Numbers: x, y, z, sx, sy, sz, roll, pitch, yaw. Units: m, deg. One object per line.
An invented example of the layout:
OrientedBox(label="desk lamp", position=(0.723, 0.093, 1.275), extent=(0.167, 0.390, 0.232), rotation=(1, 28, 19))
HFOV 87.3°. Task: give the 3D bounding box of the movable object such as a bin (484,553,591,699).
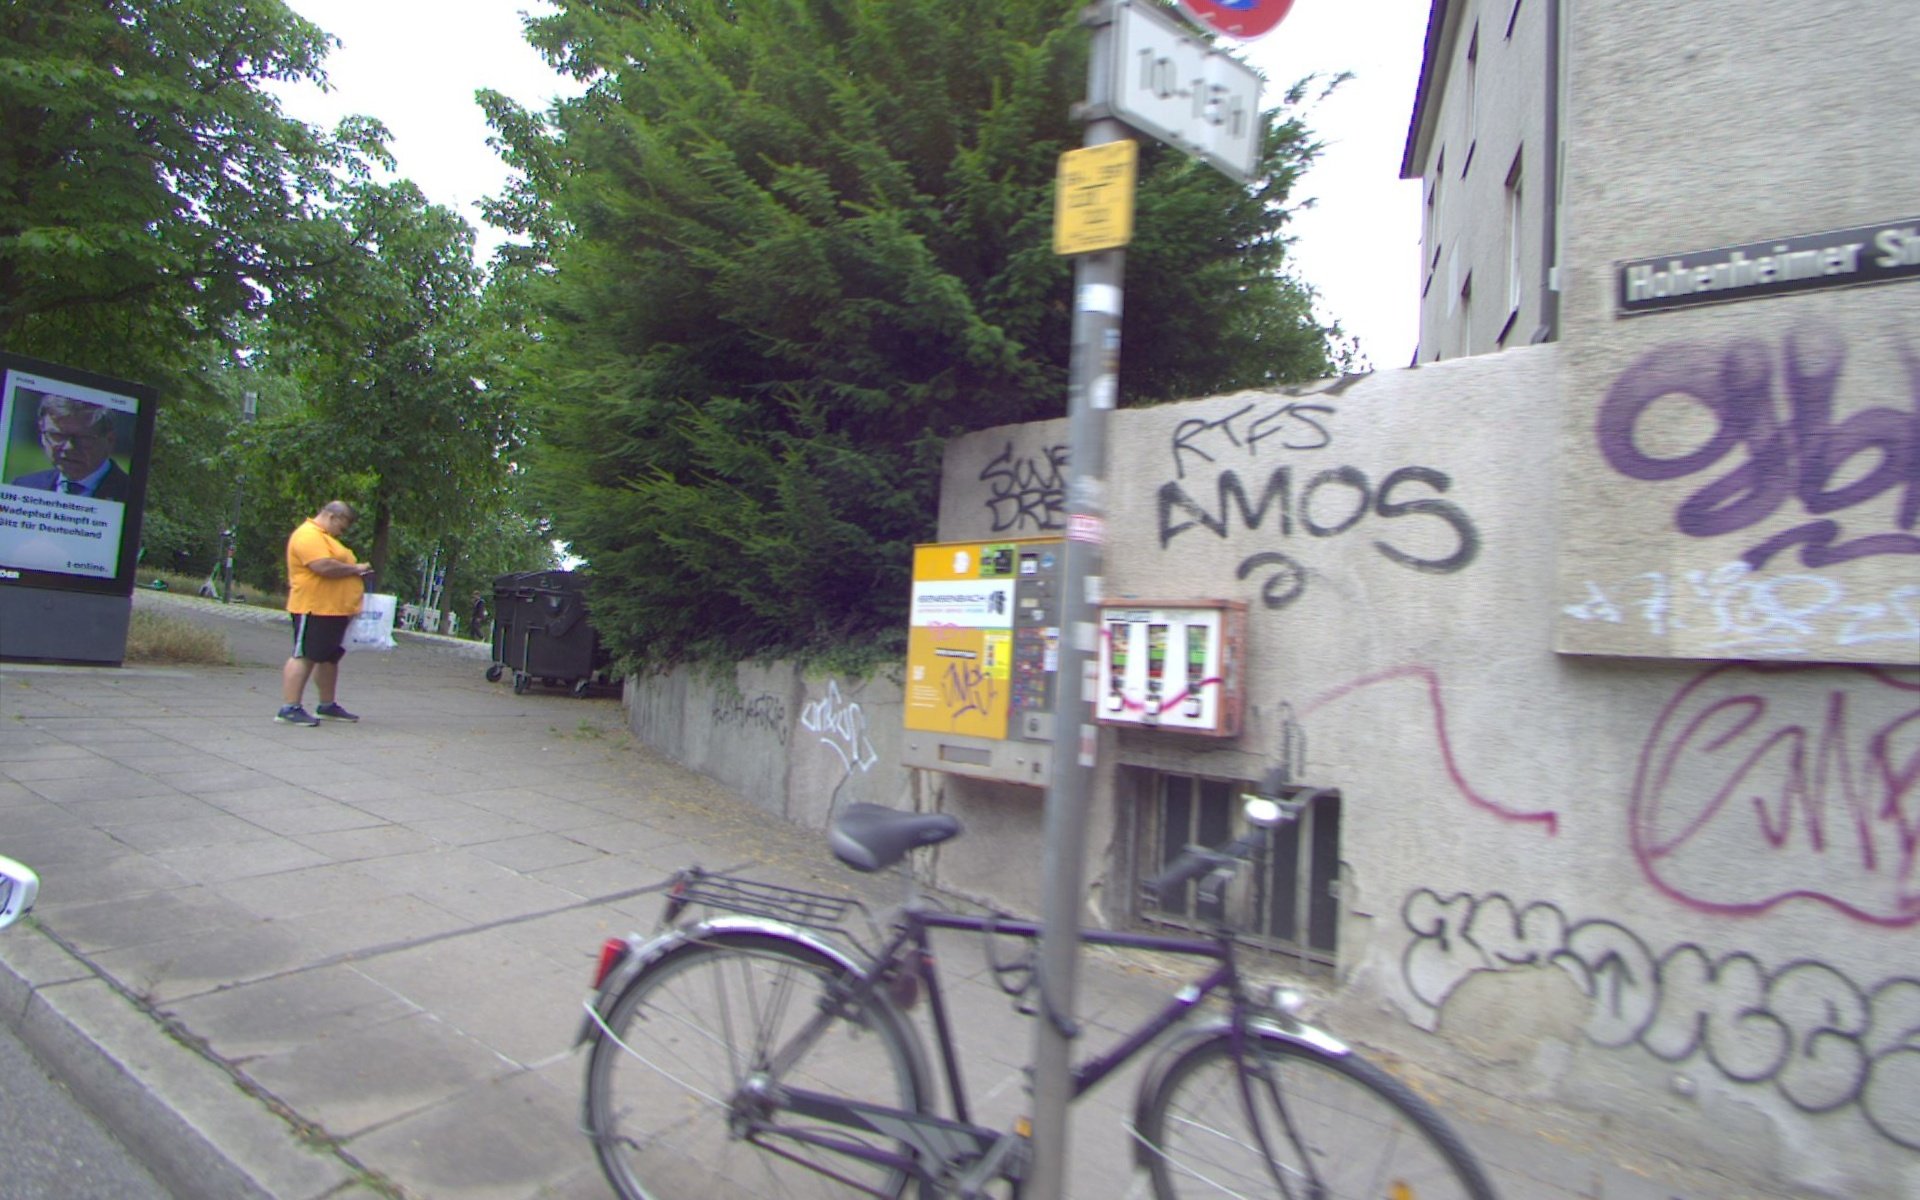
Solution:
OrientedBox(label="movable object such as a bin", position=(-4.937, 0.301, 11.844), extent=(0.831, 1.554, 1.147), rotation=(7, -1, -14))

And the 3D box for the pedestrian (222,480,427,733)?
OrientedBox(label="pedestrian", position=(-4.781, 0.057, 7.615), extent=(0.806, 1.733, 0.836), rotation=(6, 0, 18))

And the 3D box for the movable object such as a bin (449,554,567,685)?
OrientedBox(label="movable object such as a bin", position=(-5.933, 0.268, 13.290), extent=(0.829, 1.553, 1.259), rotation=(8, -1, -3))

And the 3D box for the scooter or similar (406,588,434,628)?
OrientedBox(label="scooter or similar", position=(-17.857, 0.258, 33.268), extent=(0.461, 1.260, 1.308), rotation=(10, -6, -36))

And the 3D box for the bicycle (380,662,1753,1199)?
OrientedBox(label="bicycle", position=(0.105, 0.822, 1.873), extent=(2.026, 1.157, 0.641), rotation=(7, 0, 7))

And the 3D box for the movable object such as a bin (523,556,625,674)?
OrientedBox(label="movable object such as a bin", position=(-5.578, 0.249, 14.621), extent=(0.828, 1.552, 1.201), rotation=(8, -3, -1))

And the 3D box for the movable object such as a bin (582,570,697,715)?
OrientedBox(label="movable object such as a bin", position=(-3.676, 0.497, 11.629), extent=(1.061, 1.503, 0.810), rotation=(7, -2, -14))

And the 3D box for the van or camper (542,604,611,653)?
OrientedBox(label="van or camper", position=(-20.497, 1.576, 53.995), extent=(1.855, 1.996, 4.481), rotation=(8, -6, -1))
